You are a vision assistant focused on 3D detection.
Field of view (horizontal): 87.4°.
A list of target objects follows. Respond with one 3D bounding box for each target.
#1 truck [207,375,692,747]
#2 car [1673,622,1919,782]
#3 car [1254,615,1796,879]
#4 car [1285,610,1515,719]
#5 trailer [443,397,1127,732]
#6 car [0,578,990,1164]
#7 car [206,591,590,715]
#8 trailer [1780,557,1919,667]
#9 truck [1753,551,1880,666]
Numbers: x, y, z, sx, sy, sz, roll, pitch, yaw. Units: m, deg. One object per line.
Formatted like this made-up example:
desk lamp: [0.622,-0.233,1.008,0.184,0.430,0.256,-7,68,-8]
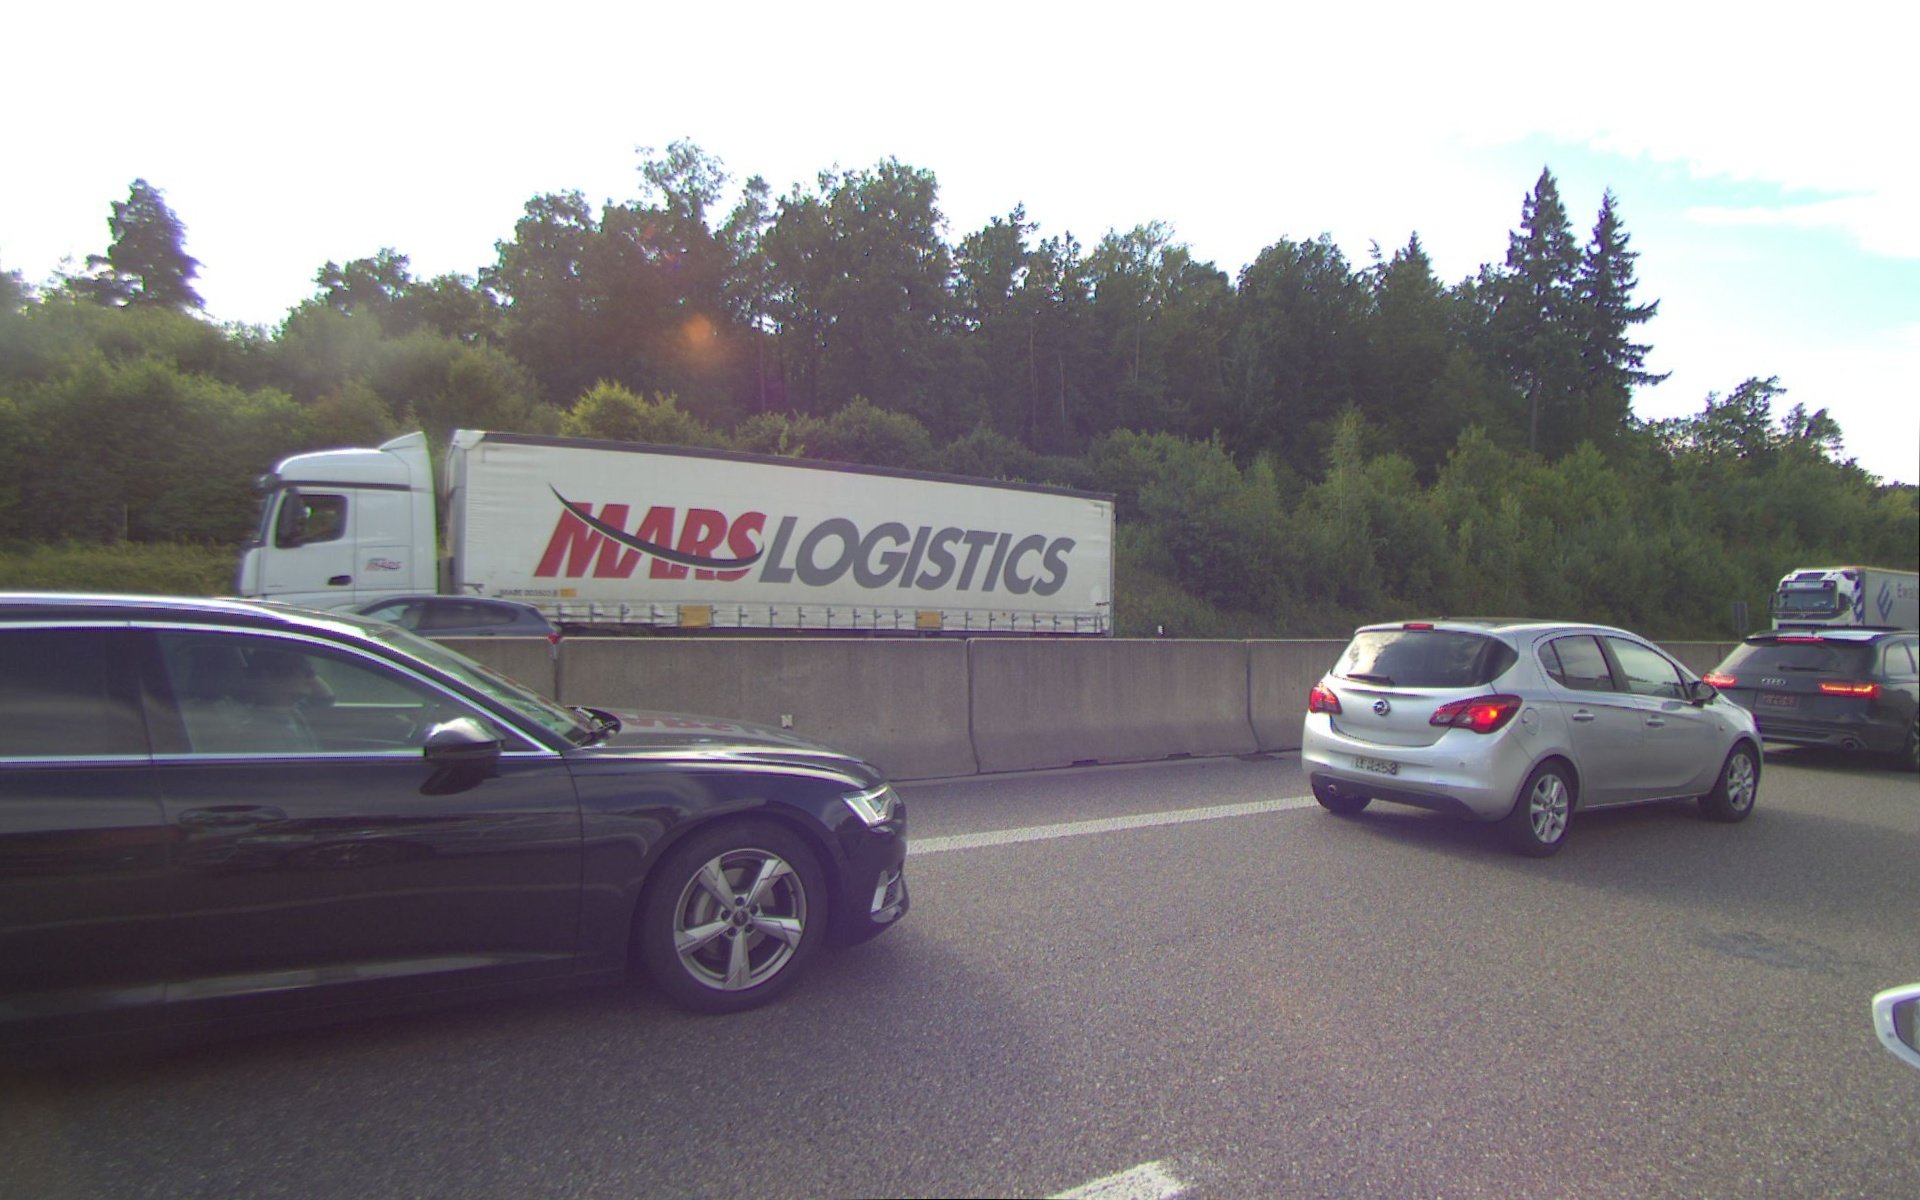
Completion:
truck: [-8.518,-0.465,17.433,6.803,5.322,3.024,2,0,-30]
car: [10.467,1.047,11.595,4.691,1.475,1.834,1,0,-30]
car: [4.269,0.880,7.467,3.993,1.485,1.739,1,-1,-30]
car: [8.390,1.154,19.089,4.273,1.834,1.843,1,0,-30]
trailer: [-2.888,-0.365,20.801,13.674,5.351,3.027,2,0,-31]
car: [-2.432,0.693,3.623,4.792,1.491,1.874,1,0,-29]
car: [-7.466,0.658,13.710,4.273,1.447,1.945,1,0,-30]
trailer: [45.451,0.746,49.510,14.483,4.894,2.912,2,0,-31]
truck: [38.885,0.420,45.617,4.710,4.923,2.917,2,0,-30]
